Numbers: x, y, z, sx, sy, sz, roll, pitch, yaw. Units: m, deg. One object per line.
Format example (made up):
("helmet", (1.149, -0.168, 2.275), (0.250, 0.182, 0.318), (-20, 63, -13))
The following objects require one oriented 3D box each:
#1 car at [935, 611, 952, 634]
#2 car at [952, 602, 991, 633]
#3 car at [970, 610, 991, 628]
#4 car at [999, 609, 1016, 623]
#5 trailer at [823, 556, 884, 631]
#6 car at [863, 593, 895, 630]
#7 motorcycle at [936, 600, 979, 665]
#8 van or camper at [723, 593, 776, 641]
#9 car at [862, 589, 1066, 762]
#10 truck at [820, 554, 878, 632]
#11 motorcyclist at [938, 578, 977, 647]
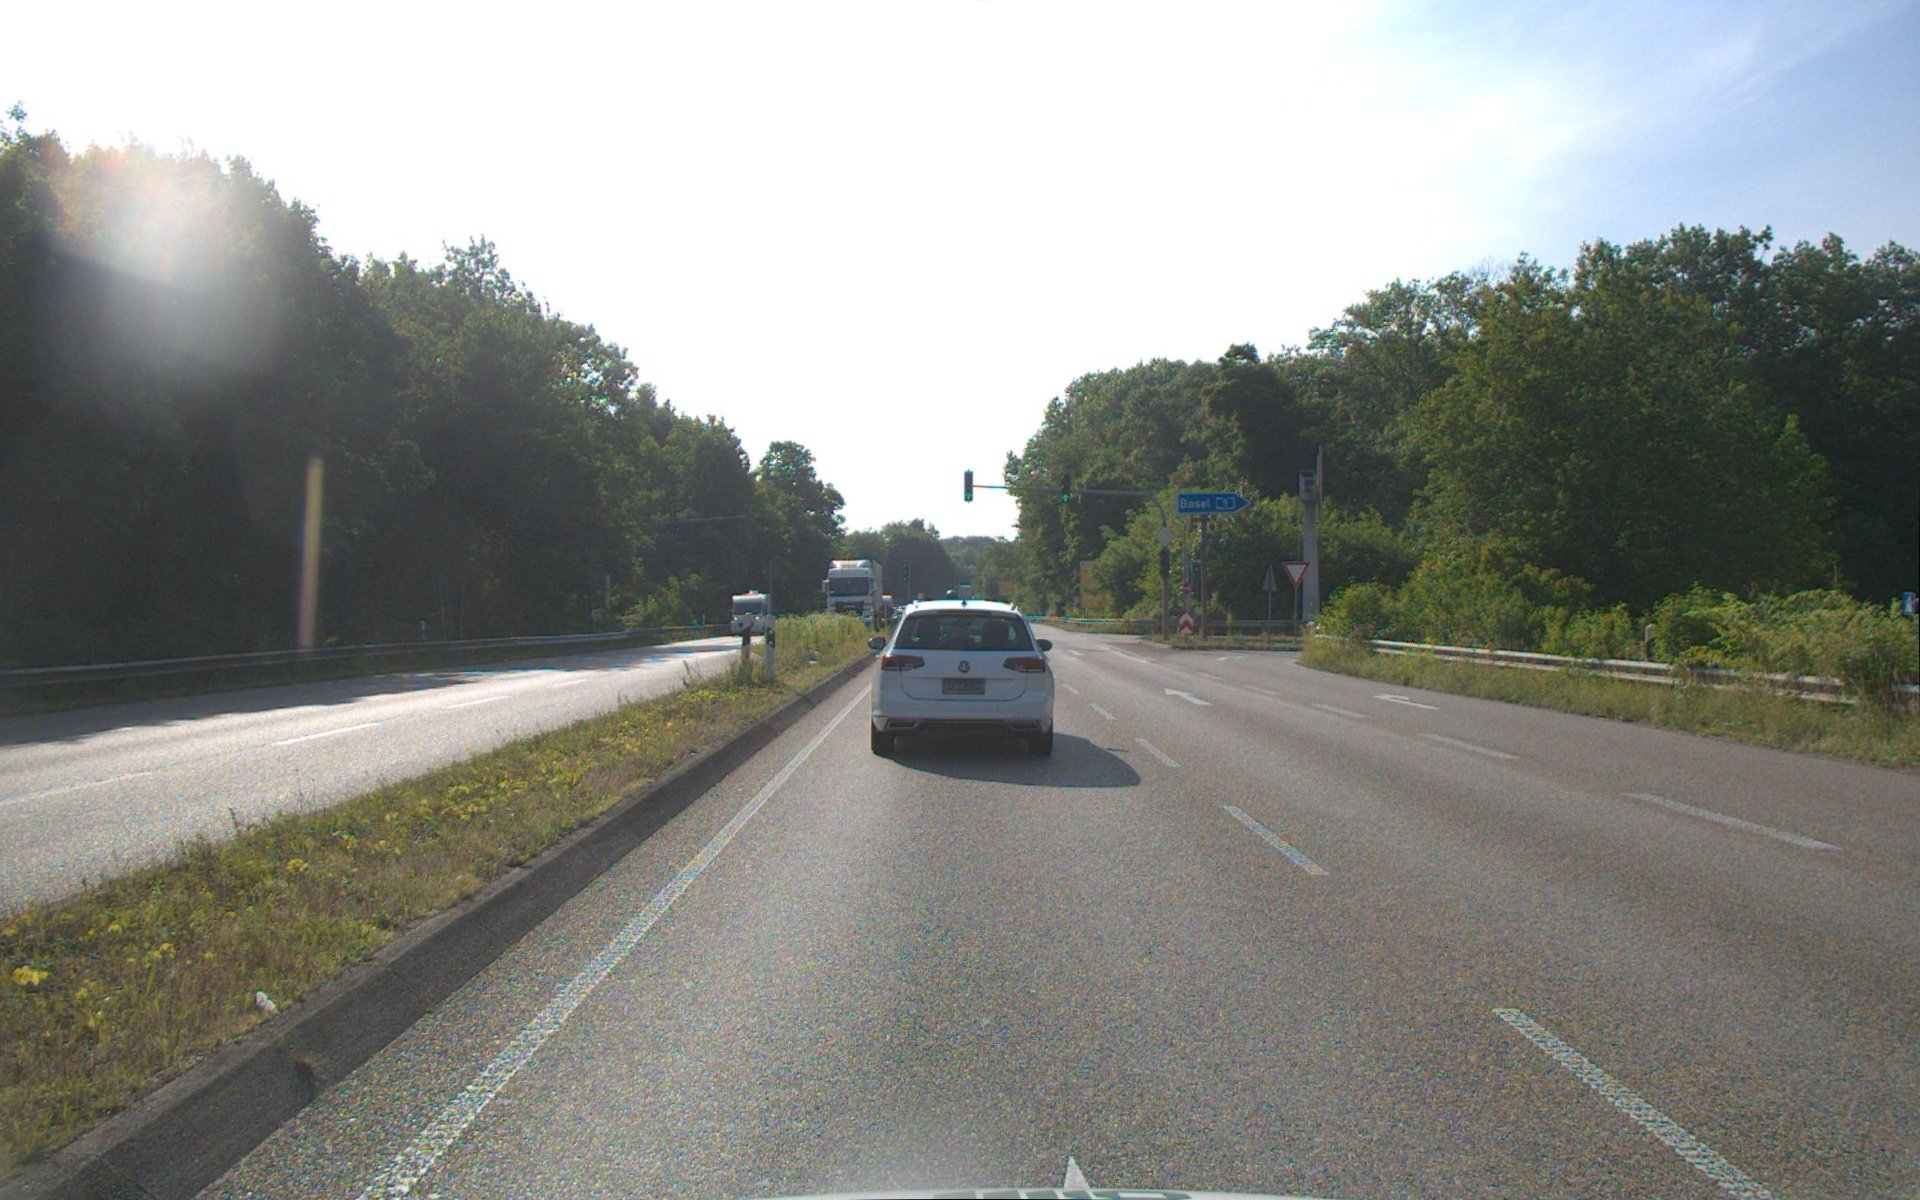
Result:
("car", (-2.235, 3.061, 225.330), (2.164, 2.939, 7.010), (-1, 0, 0))
("car", (0.560, 0.794, 76.098), (1.725, 1.404, 3.972), (1, 0, 1))
("car", (1.718, 1.564, 137.187), (1.725, 1.404, 3.972), (1, 0, 1))
("car", (5.239, 1.730, 182.306), (1.725, 1.404, 3.972), (-2, 1, 1))
("trailer", (-6.191, -0.321, 98.148), (2.931, 4.066, 14.010), (1, 0, -1))
("car", (-5.992, 0.853, 123.094), (2.032, 2.578, 6.163), (-2, 0, 0))
("motorcycle", (-0.044, 0.763, 40.475), (0.890, 1.479, 2.689), (-3, 0, 2))
("van or camper", (-13.143, 1.065, 103.782), (2.364, 2.758, 6.436), (-3, 0, 0))
("car", (0.061, 0.690, 17.370), (1.831, 1.548, 4.834), (0, 0, 0))
("truck", (-6.013, -0.353, 90.523), (2.832, 4.067, 6.719), (1, 0, -2))
("motorcyclist", (-0.049, 0.307, 40.502), (0.865, 1.644, 1.290), (1, 0, 2))
